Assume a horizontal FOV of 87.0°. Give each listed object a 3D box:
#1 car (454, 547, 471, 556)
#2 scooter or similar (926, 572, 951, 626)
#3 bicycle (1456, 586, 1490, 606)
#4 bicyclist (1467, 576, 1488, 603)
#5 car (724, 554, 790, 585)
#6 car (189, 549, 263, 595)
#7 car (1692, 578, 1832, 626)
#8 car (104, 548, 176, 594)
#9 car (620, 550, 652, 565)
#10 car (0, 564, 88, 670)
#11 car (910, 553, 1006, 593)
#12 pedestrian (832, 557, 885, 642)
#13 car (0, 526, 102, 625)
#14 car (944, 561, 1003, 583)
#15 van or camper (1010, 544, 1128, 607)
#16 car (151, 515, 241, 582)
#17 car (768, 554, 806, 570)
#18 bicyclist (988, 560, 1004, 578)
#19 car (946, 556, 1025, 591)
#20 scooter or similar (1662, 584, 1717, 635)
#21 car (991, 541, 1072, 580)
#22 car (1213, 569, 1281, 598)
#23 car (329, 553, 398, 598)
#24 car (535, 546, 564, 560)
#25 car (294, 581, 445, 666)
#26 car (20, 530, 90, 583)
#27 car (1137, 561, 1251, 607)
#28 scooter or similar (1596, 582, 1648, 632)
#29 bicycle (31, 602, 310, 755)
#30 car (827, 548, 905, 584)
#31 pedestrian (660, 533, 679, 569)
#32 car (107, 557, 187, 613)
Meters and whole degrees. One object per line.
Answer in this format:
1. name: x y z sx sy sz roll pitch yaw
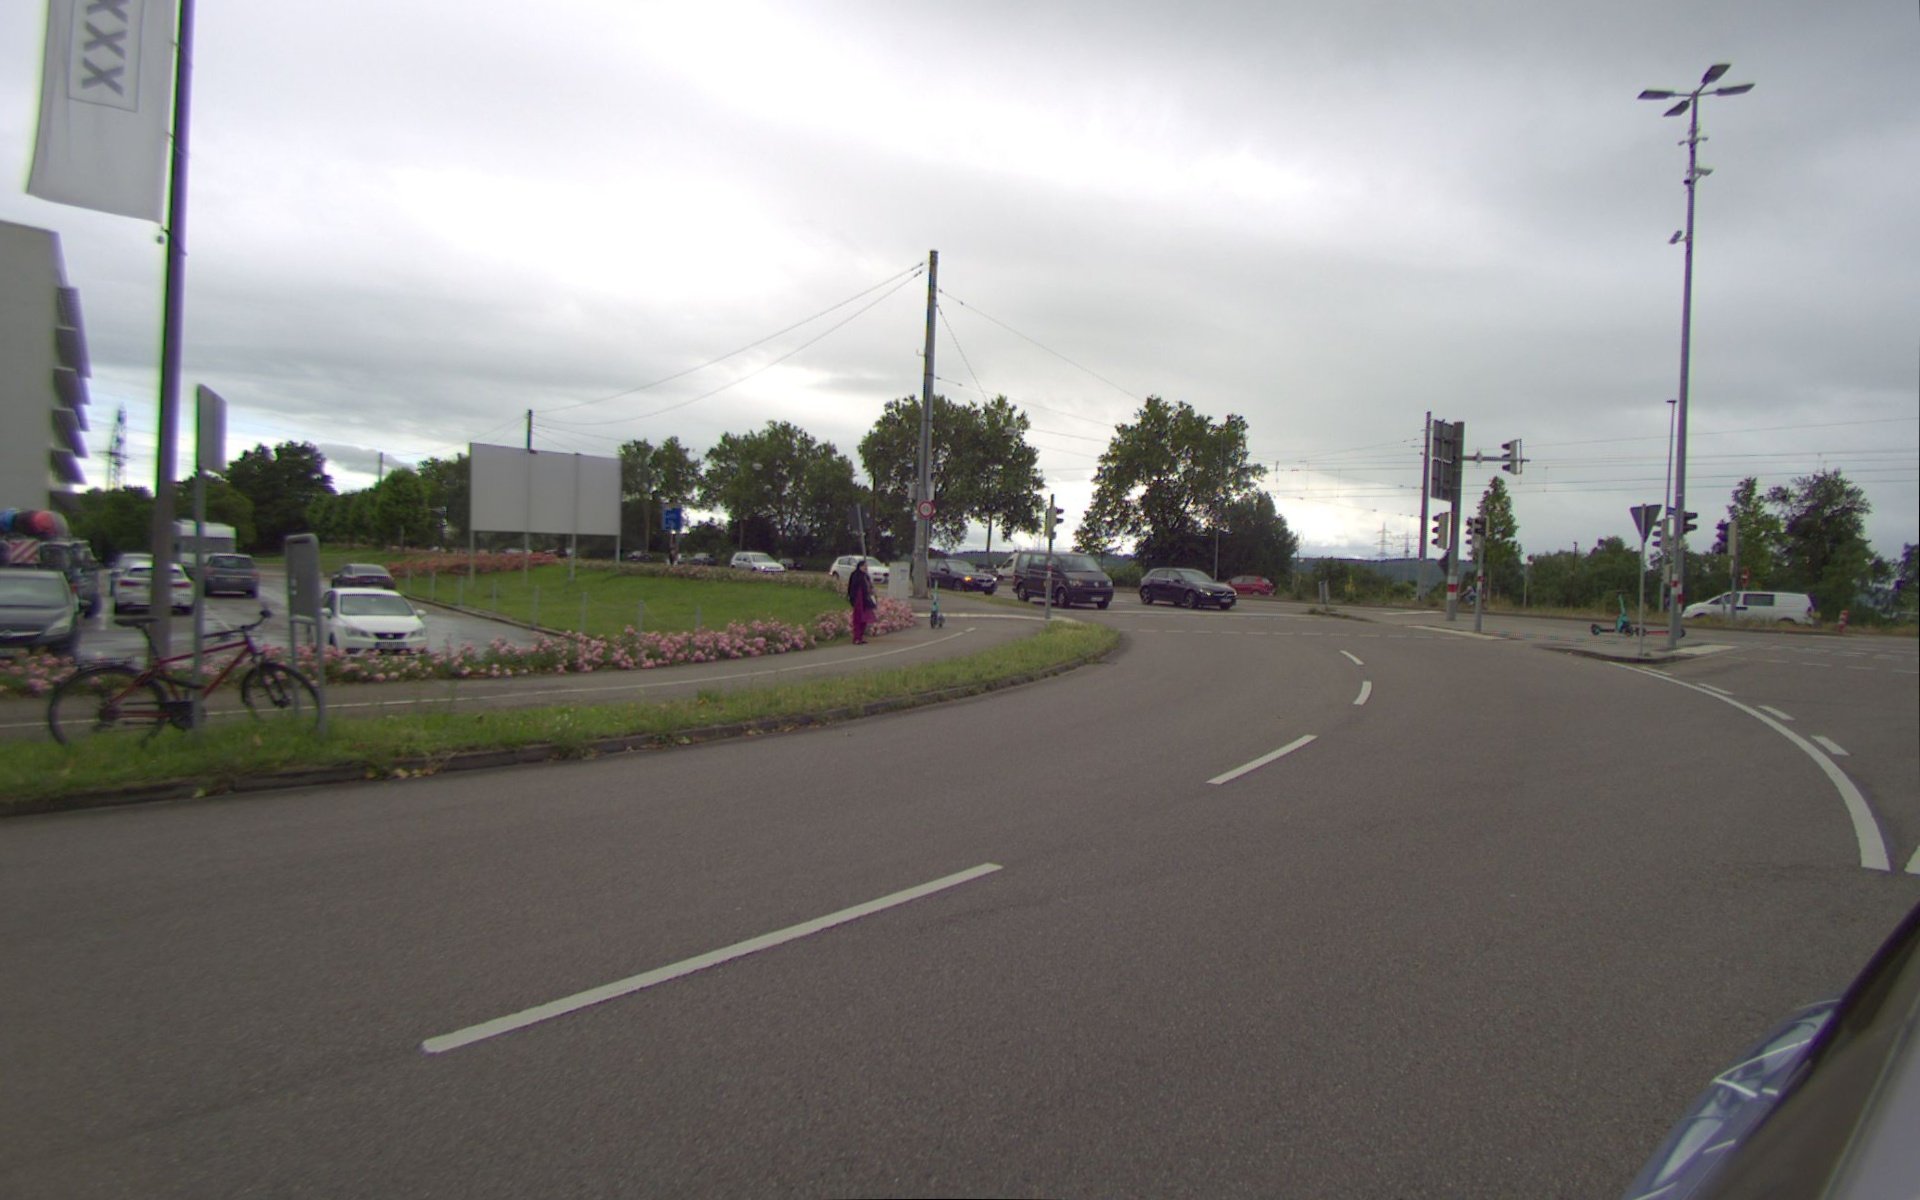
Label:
1. car: -90.053 -8.764 183.181 1.723 1.449 3.368 4 0 -44
2. scooter or similar: -0.501 -0.033 24.077 0.341 1.248 1.161 0 1 11
3. bicycle: 30.056 -0.258 59.308 1.700 1.058 0.542 4 4 37
4. bicyclist: 30.224 -0.611 59.096 0.963 1.470 0.683 4 4 37
5. car: -11.538 -1.732 57.383 1.717 1.622 4.068 4 -1 -42
6. car: -28.449 -1.102 39.173 1.854 1.686 3.992 1 1 -43
7. car: 38.191 0.076 48.349 5.097 1.903 2.071 4 0 39
8. car: -30.041 -1.091 37.034 1.802 1.535 3.992 0 2 -43
9. car: -40.849 -5.379 127.643 4.302 1.581 1.833 3 -1 43
10. car: -16.085 0.219 17.197 1.738 1.603 4.101 3 0 -39
11. car: -0.155 -1.176 43.218 1.931 1.482 4.324 1 2 -35
12. pedestrian: -1.992 -0.031 19.855 0.777 1.616 0.710 1 3 29
13. car: -22.470 -0.653 24.509 2.082 2.192 5.054 1 2 -35
14. car: 0.984 -2.160 76.813 4.330 1.408 1.847 5 1 43
15. van or camper: 3.841 -0.955 36.522 2.080 2.038 4.765 -1 4 -24
16. car: -38.900 -2.568 51.431 2.722 3.027 6.935 4 -1 -44
17. car: -17.603 -3.894 102.781 1.710 1.497 4.312 4 -1 -42
18. bicyclist: 3.069 -2.619 85.538 0.805 1.496 0.998 1 3 -43
19. car: 1.293 -1.390 53.329 1.965 1.749 3.994 0 2 -41
20. scooter or similar: 19.000 0.232 26.372 0.455 1.271 1.020 0 3 -27
21. car: 5.558 -3.100 78.929 5.883 2.658 2.622 4 0 44
22. car: 18.271 -1.052 64.437 3.756 1.581 1.631 4 0 41
23. car: -24.919 -1.038 42.229 1.880 1.778 3.997 0 2 -39
24. car: -56.209 -6.408 138.552 4.300 1.657 1.810 4 1 41
25. car: -12.048 0.442 20.539 1.842 1.464 4.114 4 -1 -41
26. car: -36.222 -1.734 40.468 1.967 1.975 3.991 0 2 -44
27. car: 8.696 -0.627 37.919 1.800 1.481 4.216 1 3 -28
28. scooter or similar: 17.793 0.178 27.214 0.314 1.271 1.118 -1 3 -27
29. bicycle: -6.071 0.558 7.906 1.659 1.061 0.666 0 1 -34
30. car: -4.582 -1.660 49.129 1.702 1.558 4.042 4 0 -40
31. pedestrian: -14.969 -2.526 52.108 0.629 1.804 0.541 3 -1 29
32. car: -23.806 -0.475 29.707 1.713 1.494 4.209 1 2 -38
